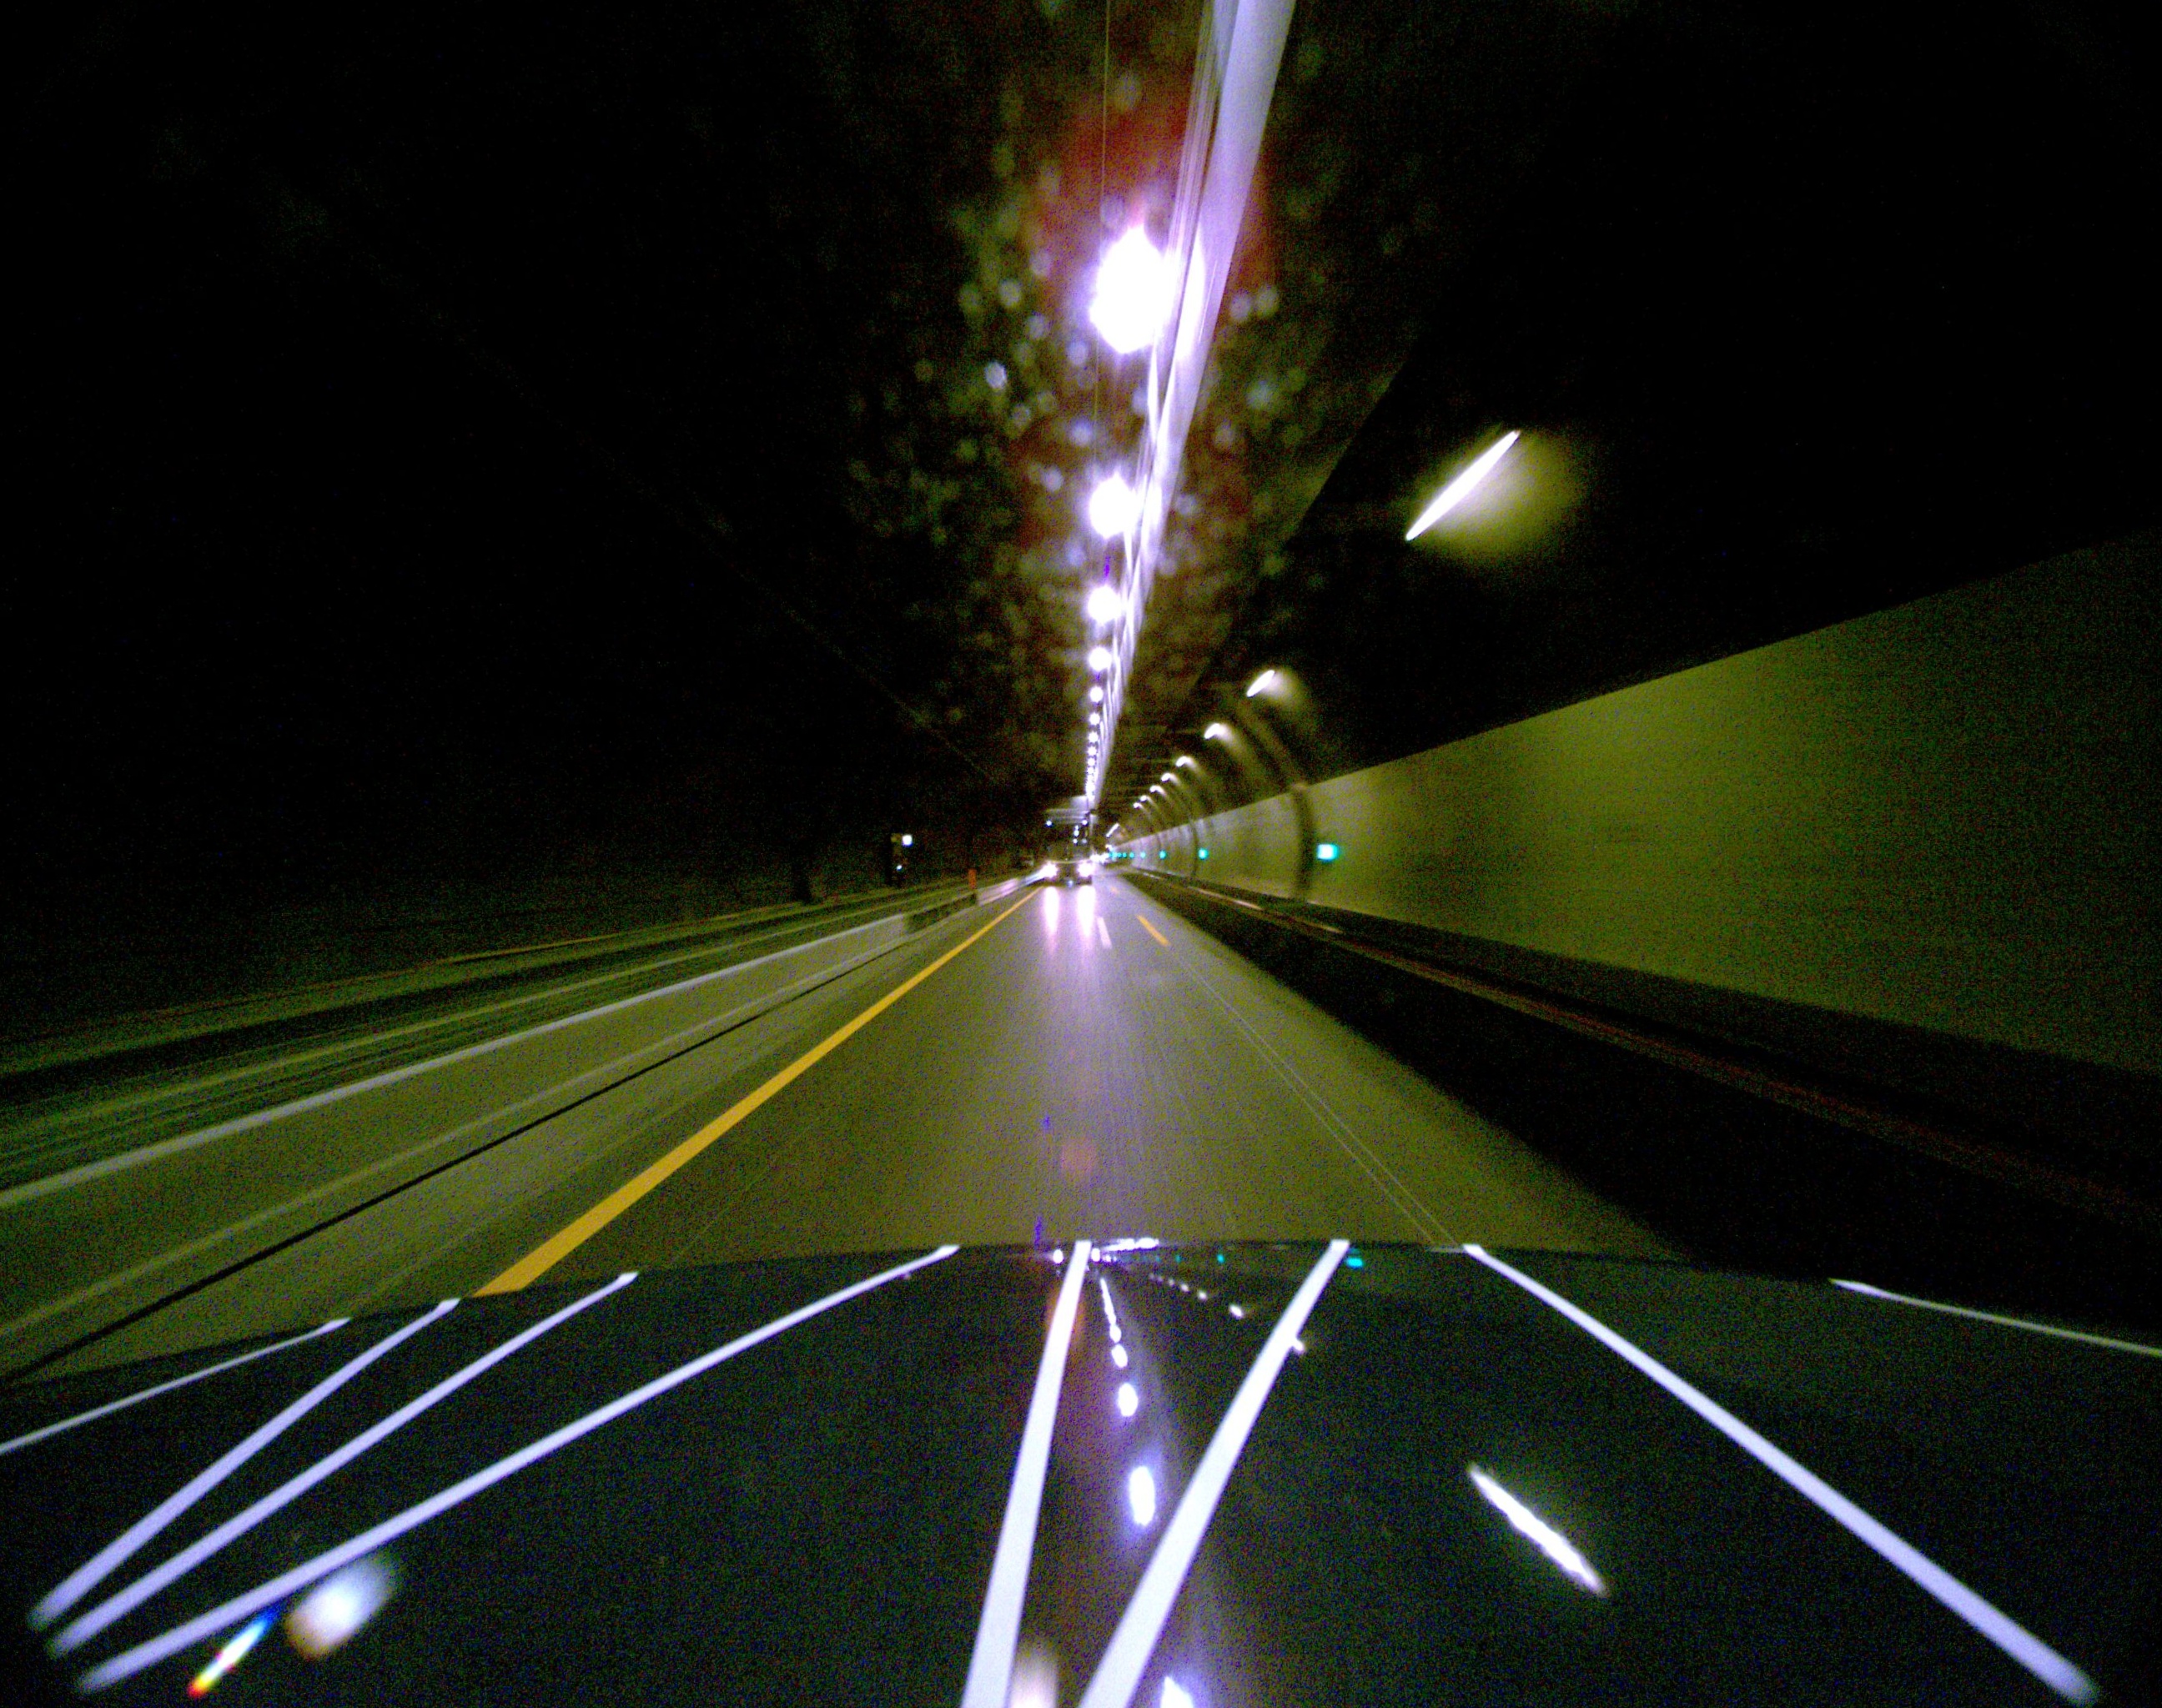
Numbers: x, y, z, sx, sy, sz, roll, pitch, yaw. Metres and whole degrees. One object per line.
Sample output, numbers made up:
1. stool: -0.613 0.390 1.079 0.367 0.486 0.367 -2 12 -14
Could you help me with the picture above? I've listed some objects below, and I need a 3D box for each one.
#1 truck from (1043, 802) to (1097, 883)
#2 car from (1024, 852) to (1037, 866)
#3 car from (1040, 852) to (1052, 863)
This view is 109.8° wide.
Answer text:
1. truck: -0.489 -0.608 43.634 2.769 4.198 7.977 -1 1 1
2. car: -7.009 0.637 105.299 1.756 1.834 4.644 -1 0 -3
3. car: -6.190 0.635 135.335 1.832 1.848 5.441 -2 0 -1
